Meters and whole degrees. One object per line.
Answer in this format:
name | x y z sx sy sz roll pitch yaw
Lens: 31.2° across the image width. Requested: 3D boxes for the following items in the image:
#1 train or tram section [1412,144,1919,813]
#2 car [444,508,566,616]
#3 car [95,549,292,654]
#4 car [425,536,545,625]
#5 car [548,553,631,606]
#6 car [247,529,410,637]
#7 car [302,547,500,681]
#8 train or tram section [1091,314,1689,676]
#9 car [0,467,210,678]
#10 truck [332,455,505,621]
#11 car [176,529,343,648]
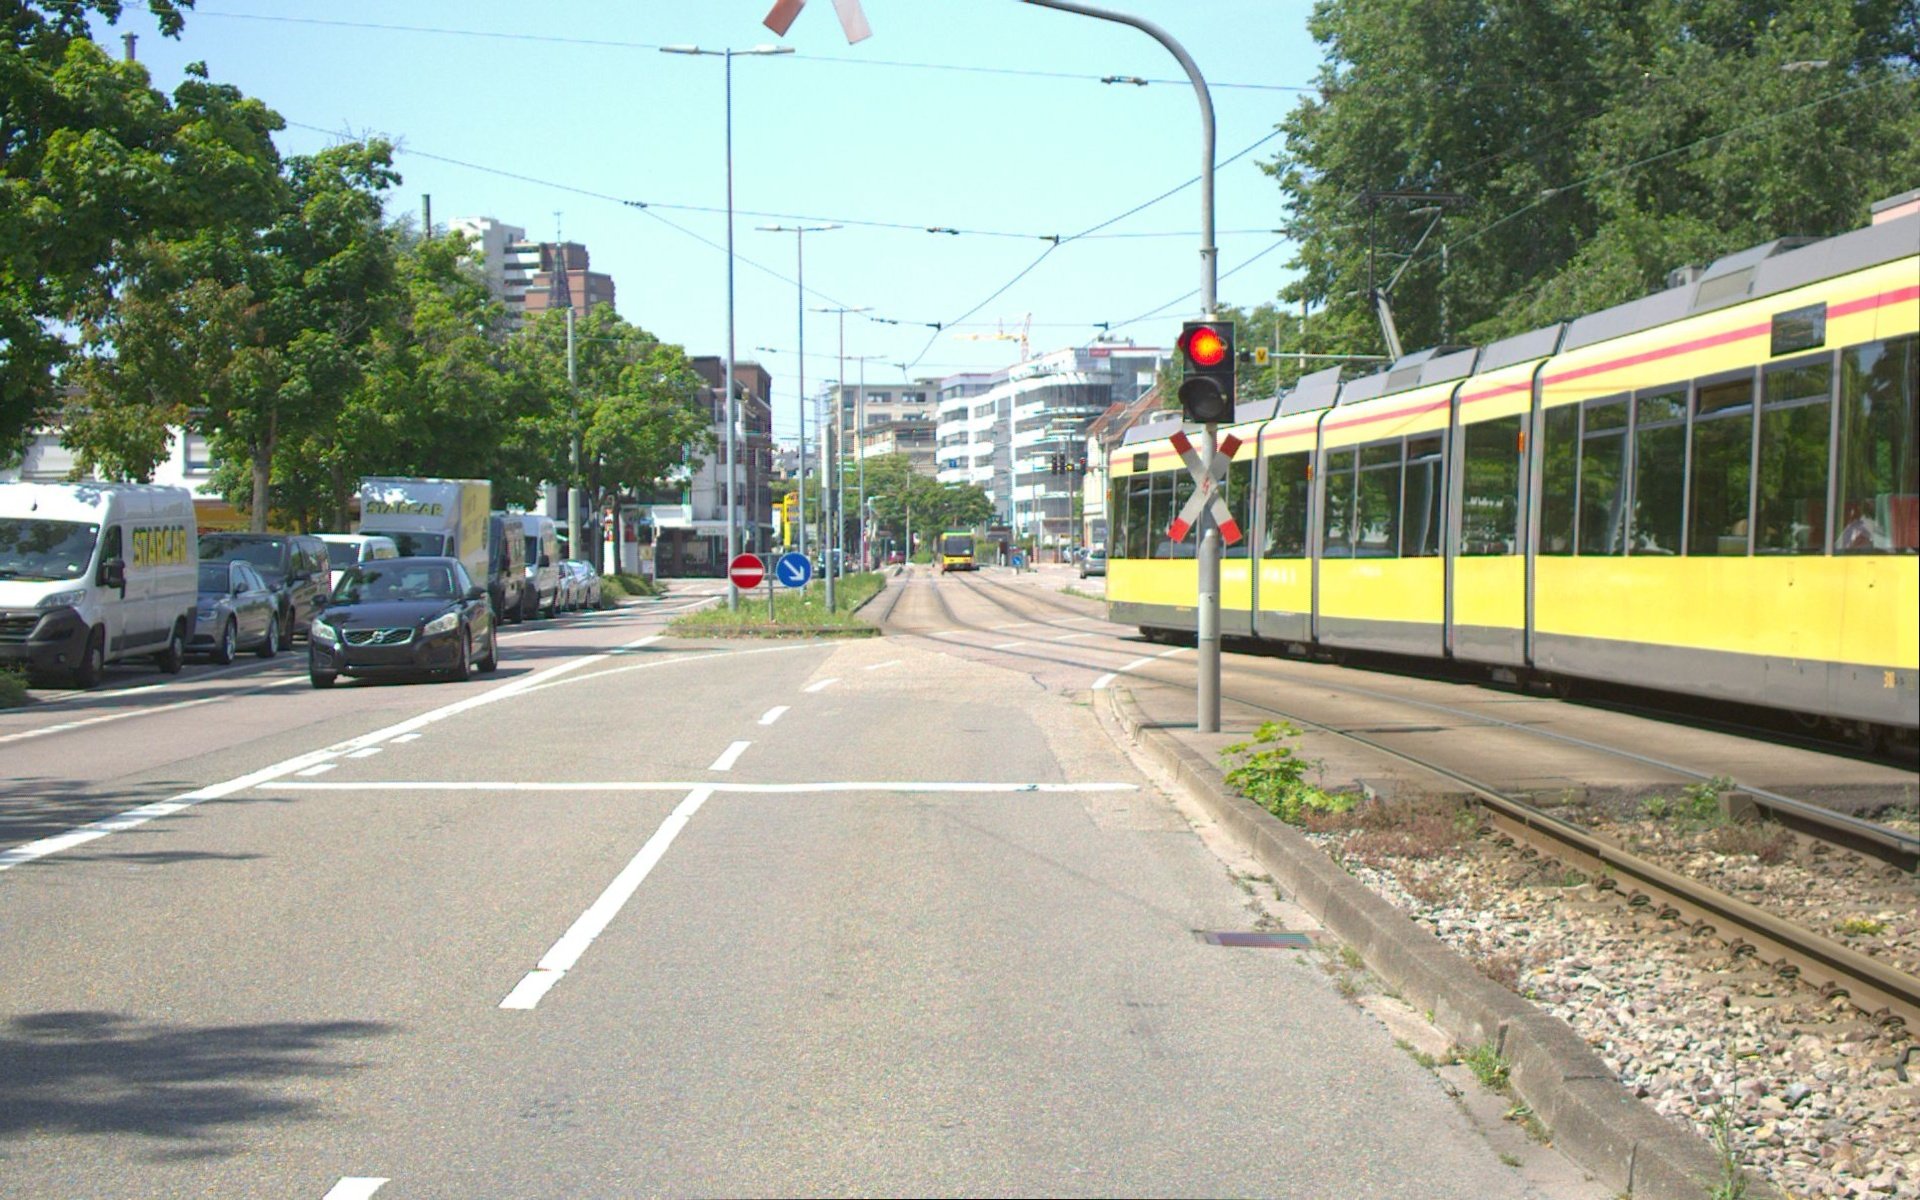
train or tram section | 6.472 -0.814 26.098 2.943 3.679 18.391 1 1 -2
car | -11.460 -0.993 86.879 2.157 2.630 5.611 0 1 2
car | -11.115 -0.007 50.135 1.868 1.432 4.343 -1 1 0
car | -10.949 -0.479 79.578 2.061 1.970 4.871 -1 1 0
car | -11.622 -0.651 108.112 2.061 1.576 4.871 -1 1 0
car | -11.559 -0.340 63.226 2.061 1.891 4.871 -1 1 0
car | -6.412 0.120 39.814 1.677 1.393 4.006 -3 1 -1
train or tram section | 4.797 -1.288 45.235 2.943 3.679 20.289 0 1 -7
car | -11.399 -0.377 43.668 2.157 2.478 6.193 -1 1 2
truck | -11.230 -1.293 71.835 2.157 3.199 7.082 3 1 2
car | -11.608 -0.227 57.207 1.868 1.888 4.271 -1 1 0
